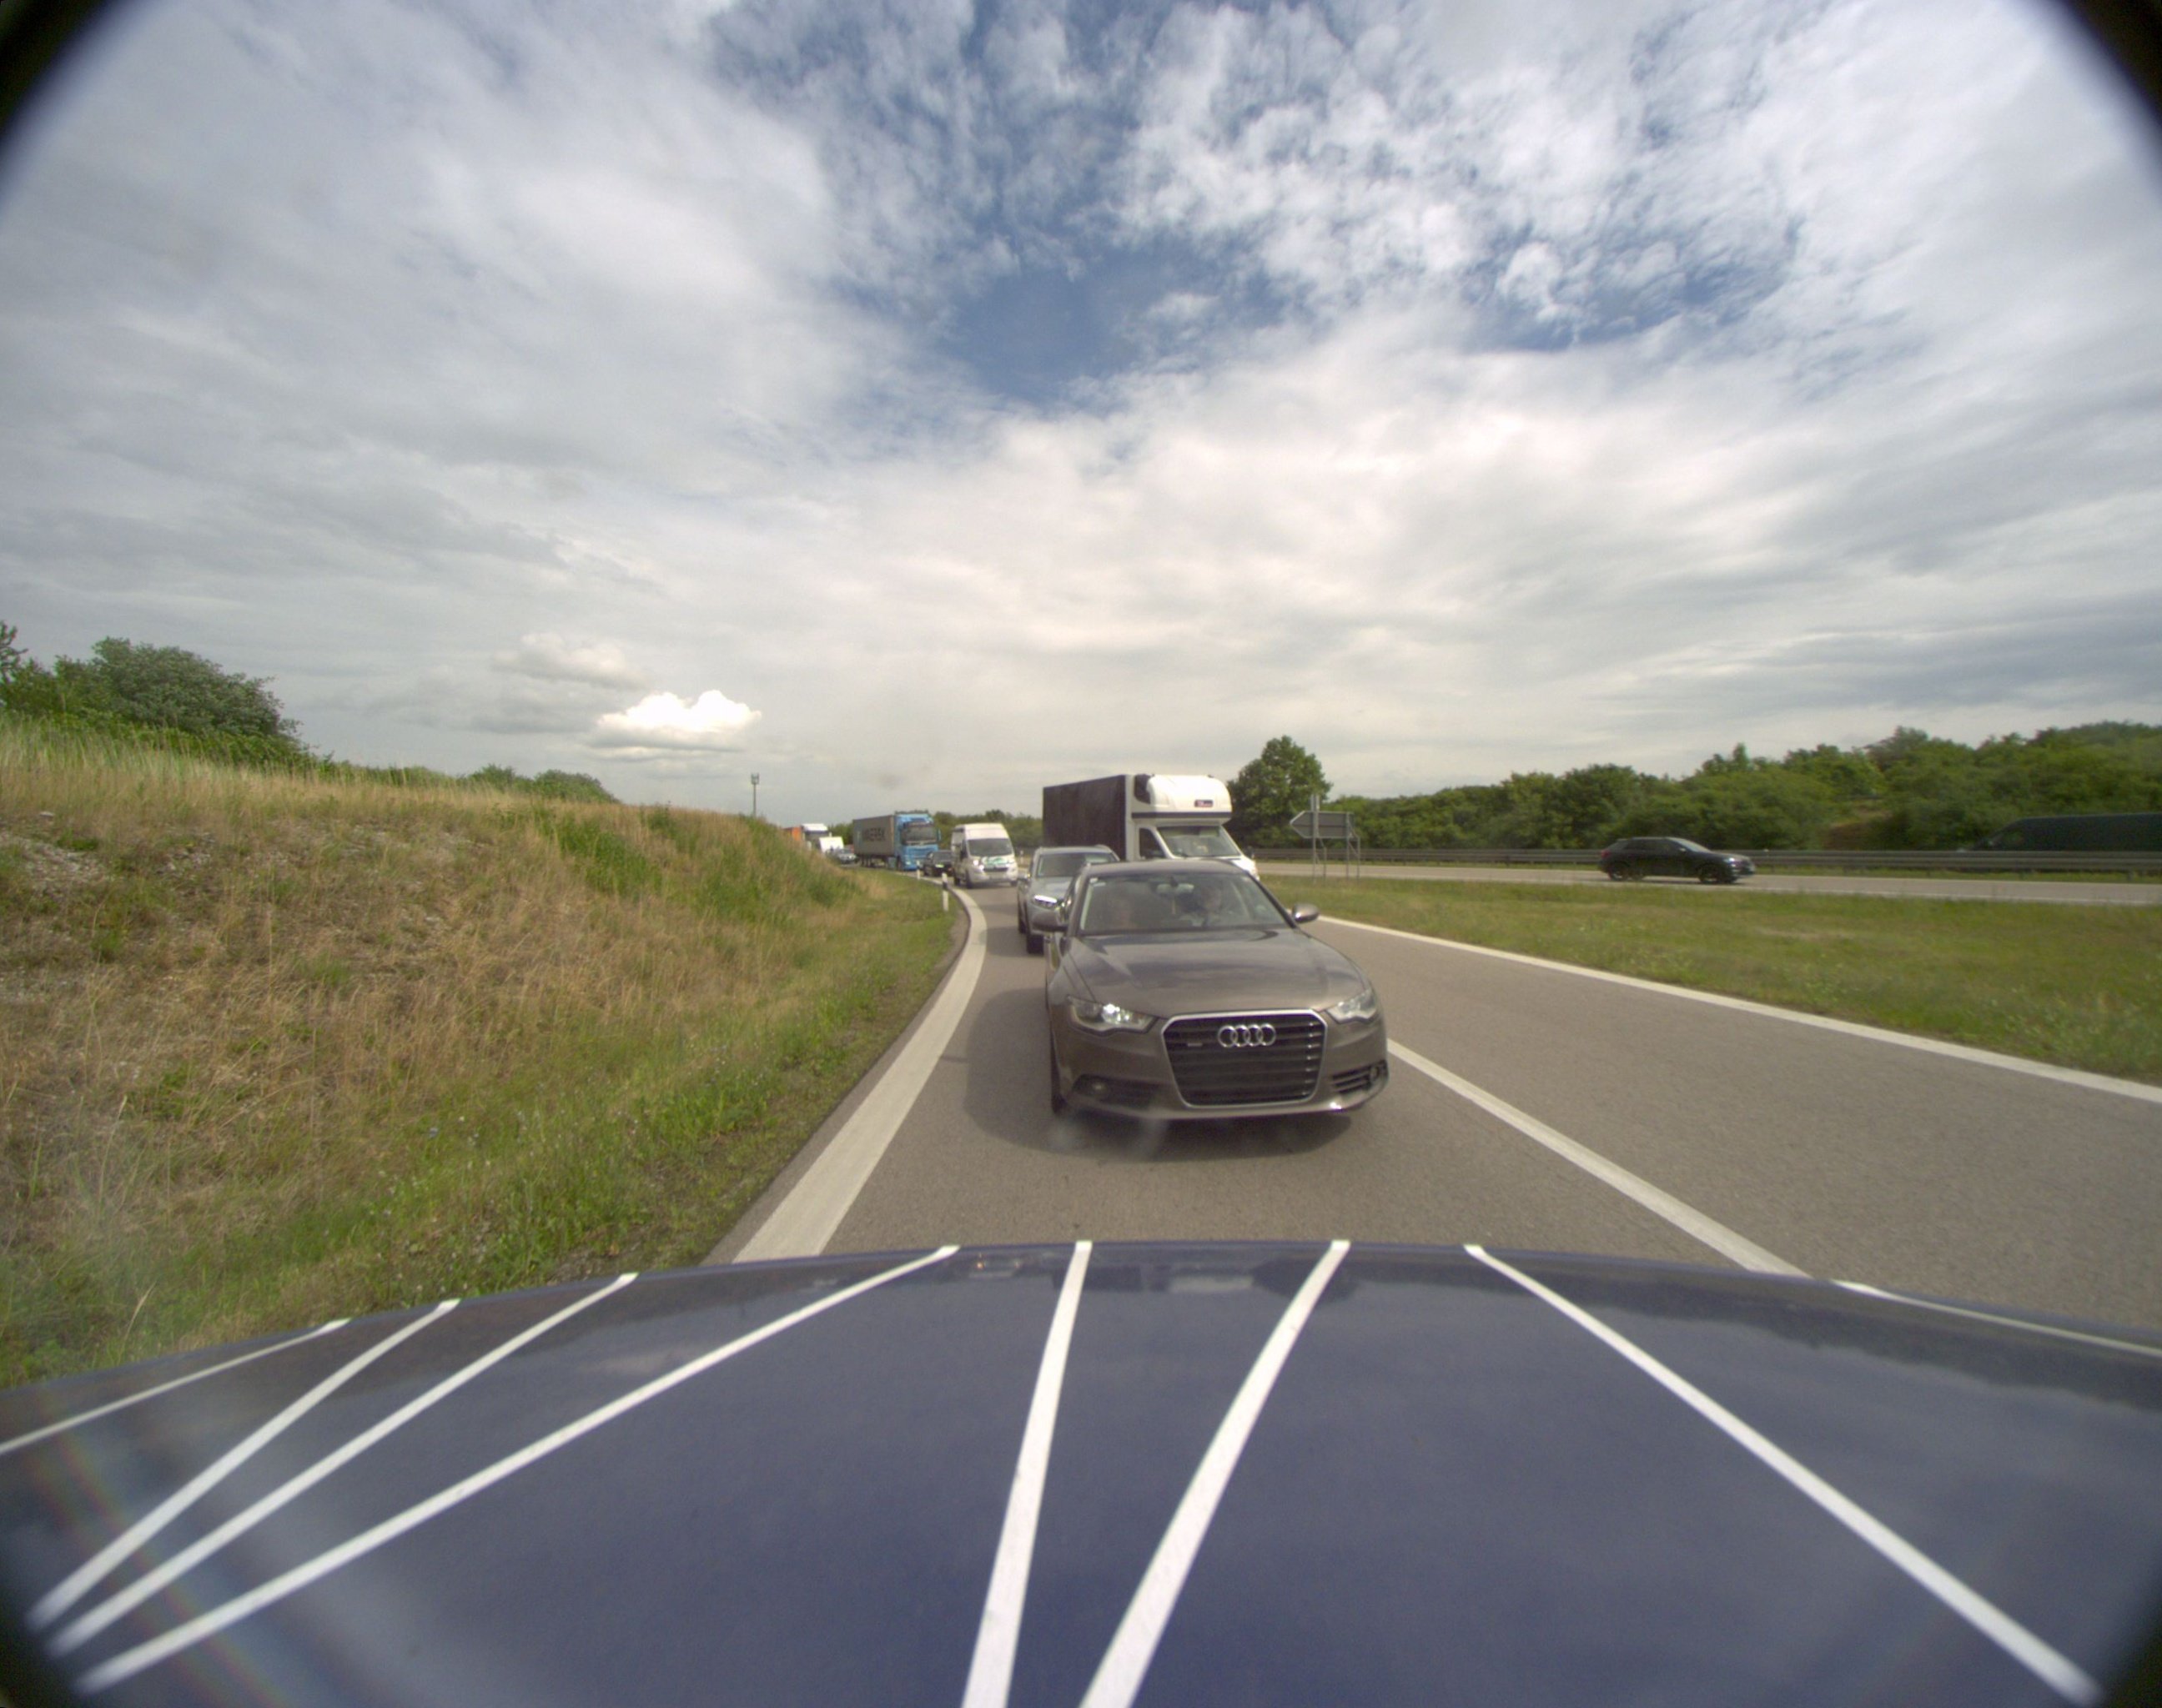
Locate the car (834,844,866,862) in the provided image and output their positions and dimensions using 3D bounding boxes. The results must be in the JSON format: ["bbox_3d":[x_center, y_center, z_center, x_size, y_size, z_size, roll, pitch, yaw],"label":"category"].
[{"bbox_3d":[-21.267,-0.154,69.907,2.003,1.521,3.990,-2,2,-29],"label":"car"}]

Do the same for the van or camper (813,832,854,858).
[{"bbox_3d":[-24.518,-0.934,75.050,2.557,2.200,5.693,-3,5,-31],"label":"van or camper"}]

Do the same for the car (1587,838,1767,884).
[{"bbox_3d":[20.380,0.174,26.178,2.003,1.415,4.446,-2,2,-33],"label":"car"}]

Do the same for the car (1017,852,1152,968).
[{"bbox_3d":[-0.113,0.784,12.881,1.843,1.587,4.171,-1,1,-6],"label":"car"}]

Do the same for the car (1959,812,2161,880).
[{"bbox_3d":[38.517,-0.285,29.245,2.146,2.421,5.953,-3,1,-34],"label":"car"}]

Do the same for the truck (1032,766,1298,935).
[{"bbox_3d":[1.518,-0.086,18.048,2.572,3.149,7.452,-3,1,-26],"label":"truck"}]

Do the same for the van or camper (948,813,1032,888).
[{"bbox_3d":[-4.035,-0.153,32.662,2.401,2.892,5.711,-3,1,-18],"label":"van or camper"}]

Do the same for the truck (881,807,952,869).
[{"bbox_3d":[-11.842,-1.073,54.158,3.184,4.049,6.632,-3,1,-27],"label":"truck"}]

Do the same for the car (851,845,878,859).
[{"bbox_3d":[-27.334,-0.279,95.721,2.003,1.593,4.796,-2,2,-32],"label":"car"}]

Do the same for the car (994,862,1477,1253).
[{"bbox_3d":[0.638,0.881,5.471,1.999,1.505,4.537,-2,1,-1],"label":"car"}]

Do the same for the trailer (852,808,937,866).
[{"bbox_3d":[-15.031,-1.191,60.194,3.280,4.137,11.989,-3,1,-29],"label":"trailer"}]

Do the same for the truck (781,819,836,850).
[{"bbox_3d":[-30.592,-2.076,84.944,3.131,3.220,11.131,-2,1,-34],"label":"truck"}]

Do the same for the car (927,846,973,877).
[{"bbox_3d":[-7.599,0.378,43.794,2.002,1.609,3.992,-1,1,-19],"label":"car"}]
